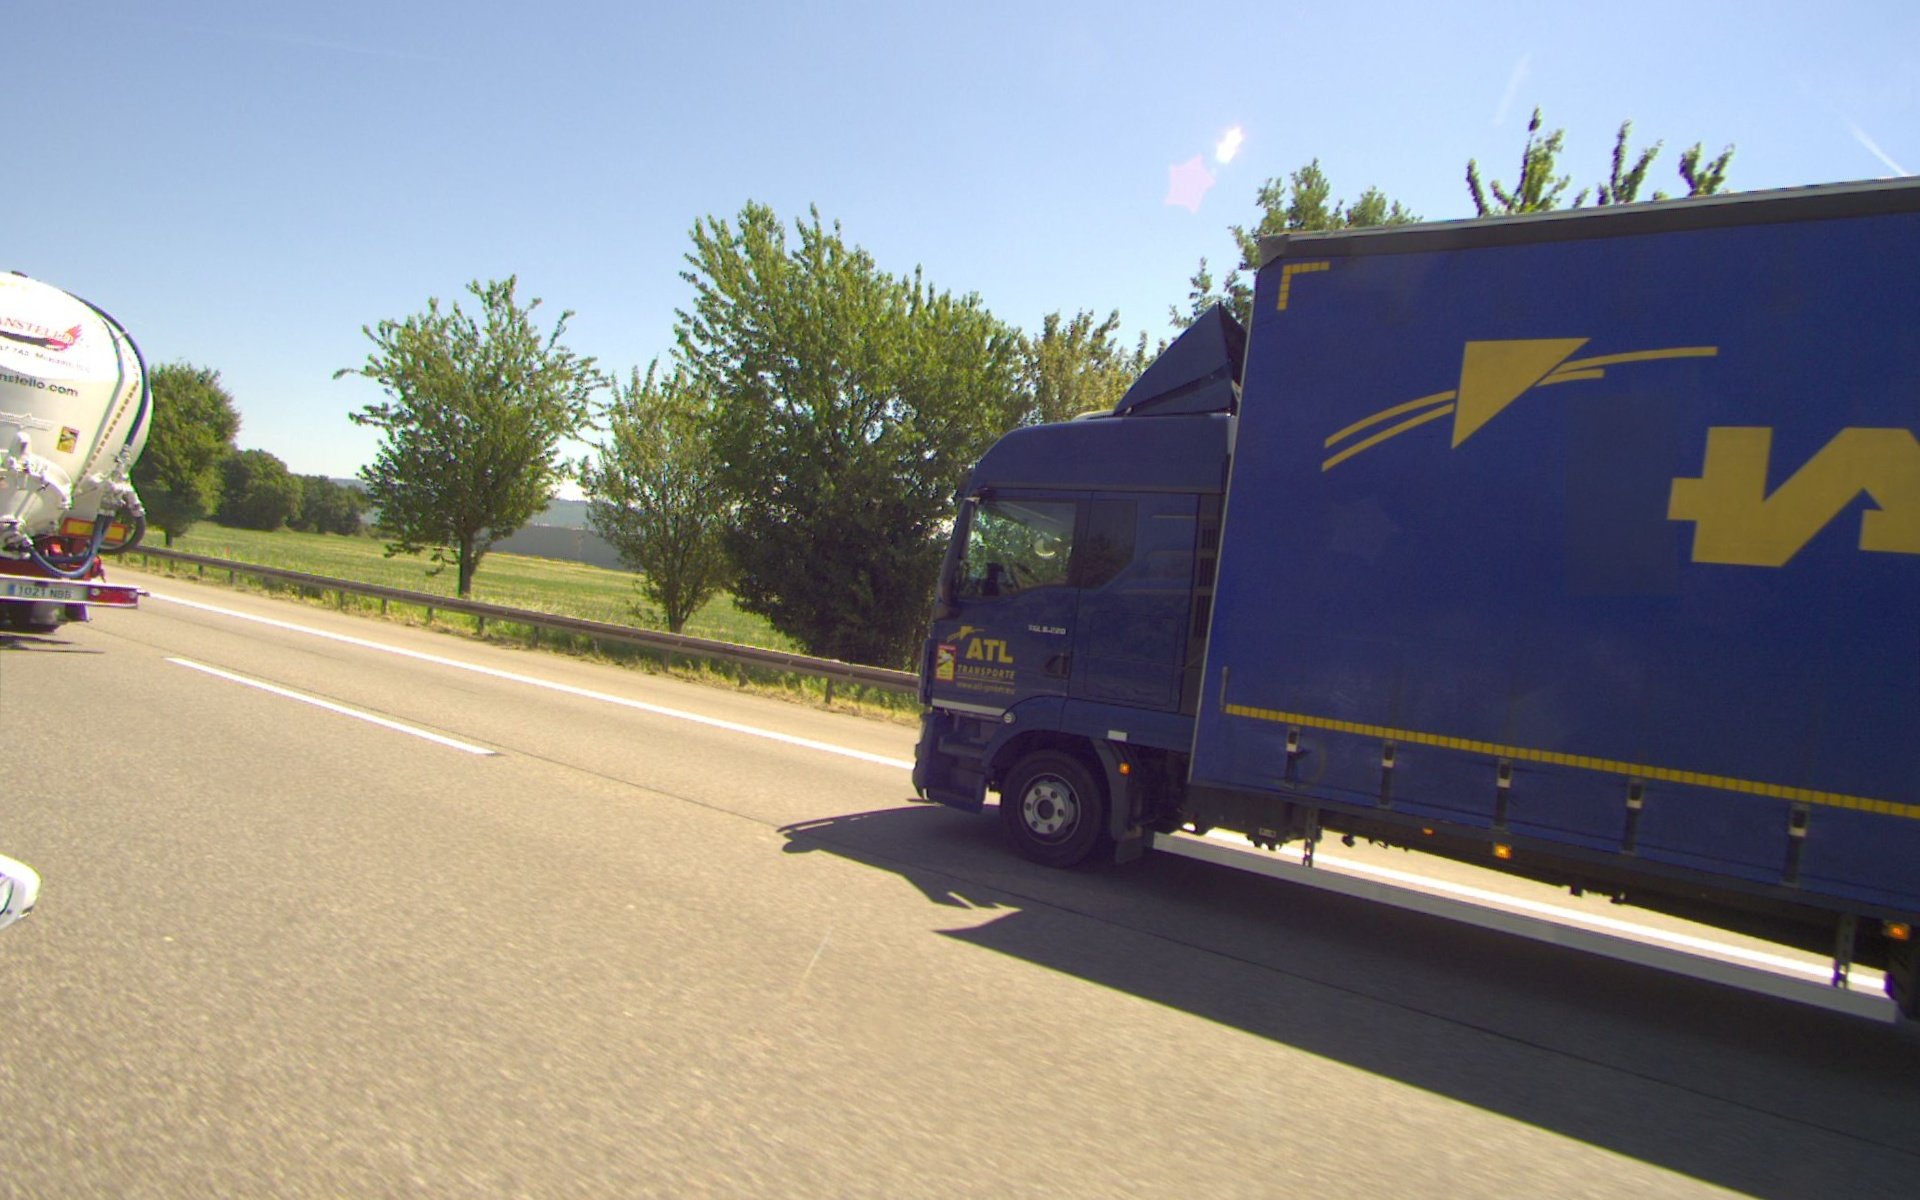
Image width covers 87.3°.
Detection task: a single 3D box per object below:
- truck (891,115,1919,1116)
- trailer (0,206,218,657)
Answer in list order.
[{"bbox_3d":[5.011,0.161,5.360,10.624,4.256,2.795,7,0,30],"label":"truck"},{"bbox_3d":[-14.296,-2.181,13.079,12.147,4.255,2.794,7,0,31],"label":"trailer"}]
